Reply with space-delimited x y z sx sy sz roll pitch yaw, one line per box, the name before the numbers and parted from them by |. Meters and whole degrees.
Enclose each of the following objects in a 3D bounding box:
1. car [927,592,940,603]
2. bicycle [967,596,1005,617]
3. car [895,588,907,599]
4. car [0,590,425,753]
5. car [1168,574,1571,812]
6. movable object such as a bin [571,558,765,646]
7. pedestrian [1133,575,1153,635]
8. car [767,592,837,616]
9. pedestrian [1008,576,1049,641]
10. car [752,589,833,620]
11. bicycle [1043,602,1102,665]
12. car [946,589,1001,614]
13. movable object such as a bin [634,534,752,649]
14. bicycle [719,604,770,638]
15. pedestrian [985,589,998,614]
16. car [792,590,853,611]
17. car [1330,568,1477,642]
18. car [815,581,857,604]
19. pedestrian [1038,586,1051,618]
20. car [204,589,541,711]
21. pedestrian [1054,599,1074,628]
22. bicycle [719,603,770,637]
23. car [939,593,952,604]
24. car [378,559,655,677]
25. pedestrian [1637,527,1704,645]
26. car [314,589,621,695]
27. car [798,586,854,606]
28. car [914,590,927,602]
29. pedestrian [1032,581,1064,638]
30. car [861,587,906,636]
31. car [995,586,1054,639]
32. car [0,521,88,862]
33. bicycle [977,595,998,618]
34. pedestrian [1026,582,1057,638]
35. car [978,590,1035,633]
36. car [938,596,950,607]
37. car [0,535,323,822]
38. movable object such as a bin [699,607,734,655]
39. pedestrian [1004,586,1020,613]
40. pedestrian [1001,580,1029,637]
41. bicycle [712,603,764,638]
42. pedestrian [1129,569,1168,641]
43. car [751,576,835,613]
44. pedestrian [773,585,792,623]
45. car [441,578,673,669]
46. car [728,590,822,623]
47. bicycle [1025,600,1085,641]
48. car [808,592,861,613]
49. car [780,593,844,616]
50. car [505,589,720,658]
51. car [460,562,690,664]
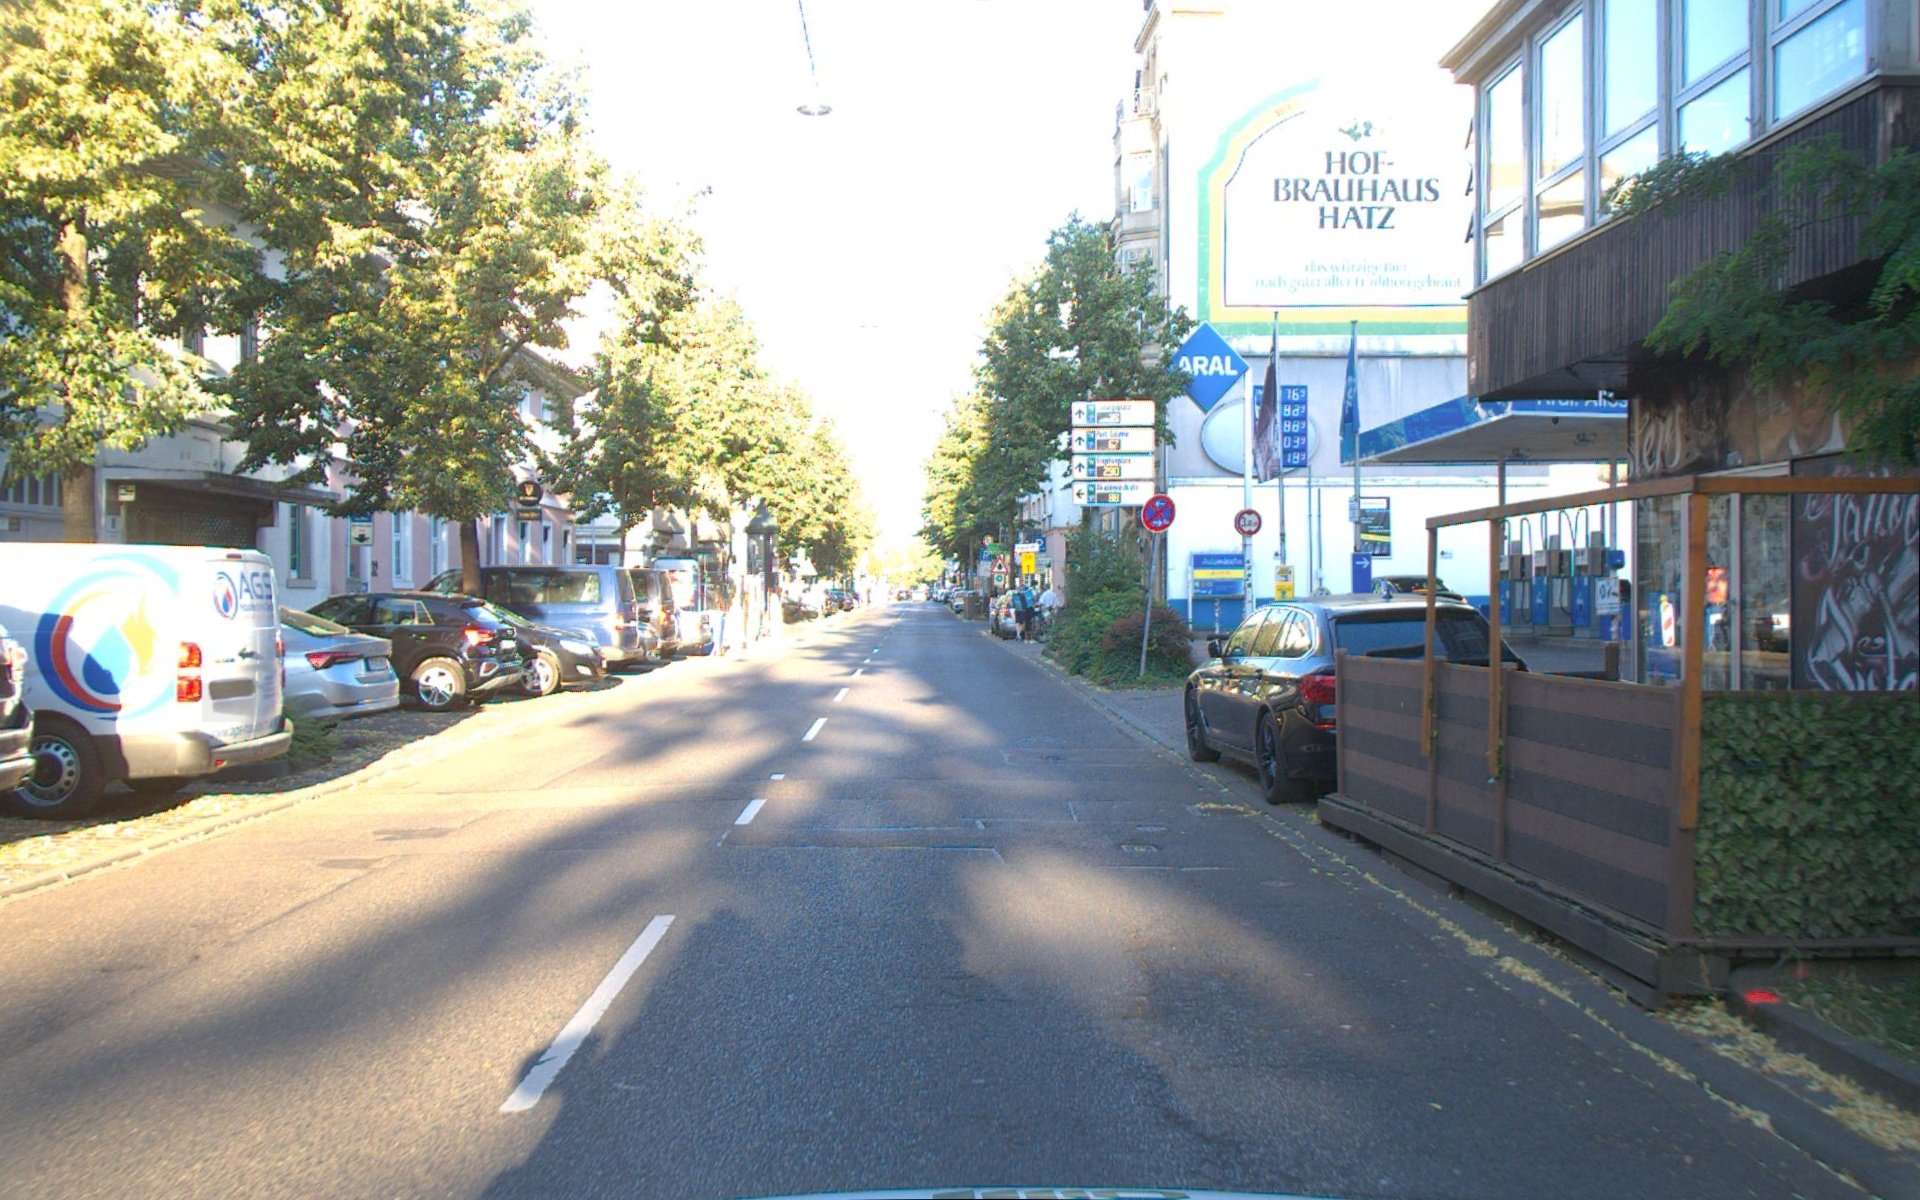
car | -3.886 -0.365 242.850 1.717 1.567 3.303 0 0 0
bicycle | 1.354 0.328 86.490 1.918 1.092 0.704 0 0 30
car | -8.593 -0.880 241.821 1.717 1.567 3.303 0 0 0
car | -7.919 0.680 16.785 4.386 1.511 1.734 1 0 0
car | 3.053 0.608 13.488 1.792 1.514 4.846 -2 0 -3
movable object such as a bin | -8.848 0.042 50.612 2.272 2.539 5.721 0 0 41
pedestrian | 5.856 0.147 52.840 0.452 1.908 0.499 -1 0 -17
car | -10.182 0.231 106.990 4.352 1.484 1.859 1 0 -1
pedestrian | 2.011 0.256 48.835 0.995 1.857 0.778 -3 0 -11
car | -9.604 0.244 95.133 4.478 1.727 2.060 1 0 -1
bicycle | 2.283 0.665 33.342 0.473 1.163 1.678 -3 0 29
car | 0.940 0.087 111.045 1.645 1.616 3.802 1 0 41
movable object such as a bin | -7.368 -0.246 46.249 2.572 3.021 5.301 0 0 -2
bicycle | -7.364 0.716 56.562 1.647 1.097 0.445 2 -1 6
pedestrian | 1.782 0.096 94.206 0.711 1.402 0.781 0 0 -2
car | -10.224 0.017 123.215 4.352 1.474 1.918 1 0 -1
car | 9.457 0.138 35.682 1.699 1.456 4.906 -1 -1 -2
car | -13.317 -0.776 177.961 4.352 2.477 1.918 0 0 -1
pedestrian | 4.378 0.096 85.740 0.555 1.611 0.663 -2 1 -1
car | -7.853 0.638 22.355 3.842 1.527 1.905 1 0 1
pedestrian | 4.277 0.551 68.288 0.668 1.161 1.360 -1 -1 -2
bicycle | -7.435 0.706 57.158 1.647 1.097 0.445 2 -1 6
car | -1.706 -0.151 190.746 1.482 1.298 3.303 0 0 0
car | -7.835 0.306 29.573 4.392 2.010 2.068 0 0 -1
pedestrian | 18.149 -0.346 42.261 1.184 2.958 1.167 1 -1 -1
car | -7.464 0.624 25.436 4.243 1.527 1.839 1 0 -7
car | -10.825 -0.312 134.075 4.352 1.549 1.918 1 0 -1
car | -5.475 -0.510 226.887 1.717 1.567 3.303 0 0 0
pedestrian | 2.724 0.281 51.369 0.657 1.730 0.649 -2 0 44
car | -3.118 0.447 67.894 1.674 1.855 4.012 -3 0 -1
car | 2.099 0.377 54.756 1.653 1.602 4.012 -3 0 -1
car | -7.540 0.520 9.208 4.338 1.902 1.893 0 0 -1
bicycle | 1.461 0.343 87.954 0.585 1.198 1.847 0 0 18
pedestrian | 2.550 0.311 51.972 0.666 1.735 0.822 -3 0 -16
car | 1.624 0.376 59.394 1.749 1.399 4.522 -3 0 -2
car | -2.042 0.198 208.801 1.482 1.285 3.303 0 0 0
car | -7.464 0.532 12.179 4.772 1.941 1.973 0 0 -2
movable object such as a bin | -5.895 0.753 40.087 0.675 1.124 0.883 -1 0 0
pedestrian | 3.755 -0.049 120.224 0.900 1.959 1.015 1 0 -11
pedestrian | 1.715 0.265 51.760 0.665 1.785 0.823 -1 0 -12
bicycle | -7.504 0.705 55.966 1.649 1.097 0.444 3 -1 -2
pedestrian | 5.096 0.140 44.876 0.806 1.886 1.096 -3 0 -3
car | -9.312 -0.303 92.367 4.479 1.996 1.990 1 0 -2
pedestrian | -8.039 0.167 74.825 0.695 1.716 0.834 0 0 7
car | -7.785 0.440 32.241 4.046 1.665 1.860 1 0 -1
car | -9.126 0.327 81.857 4.455 1.568 1.810 1 0 -3
bicycle | 2.814 0.595 48.835 0.850 1.118 1.919 -2 1 37
car | -10.672 0.211 140.578 4.352 1.790 1.918 1 0 -1
car | -10.419 0.317 116.502 4.352 1.595 1.918 1 0 -1
car | -7.934 0.524 38.005 4.499 1.495 1.893 1 0 1
car | -8.011 0.261 34.770 4.394 2.010 1.964 1 0 -4
